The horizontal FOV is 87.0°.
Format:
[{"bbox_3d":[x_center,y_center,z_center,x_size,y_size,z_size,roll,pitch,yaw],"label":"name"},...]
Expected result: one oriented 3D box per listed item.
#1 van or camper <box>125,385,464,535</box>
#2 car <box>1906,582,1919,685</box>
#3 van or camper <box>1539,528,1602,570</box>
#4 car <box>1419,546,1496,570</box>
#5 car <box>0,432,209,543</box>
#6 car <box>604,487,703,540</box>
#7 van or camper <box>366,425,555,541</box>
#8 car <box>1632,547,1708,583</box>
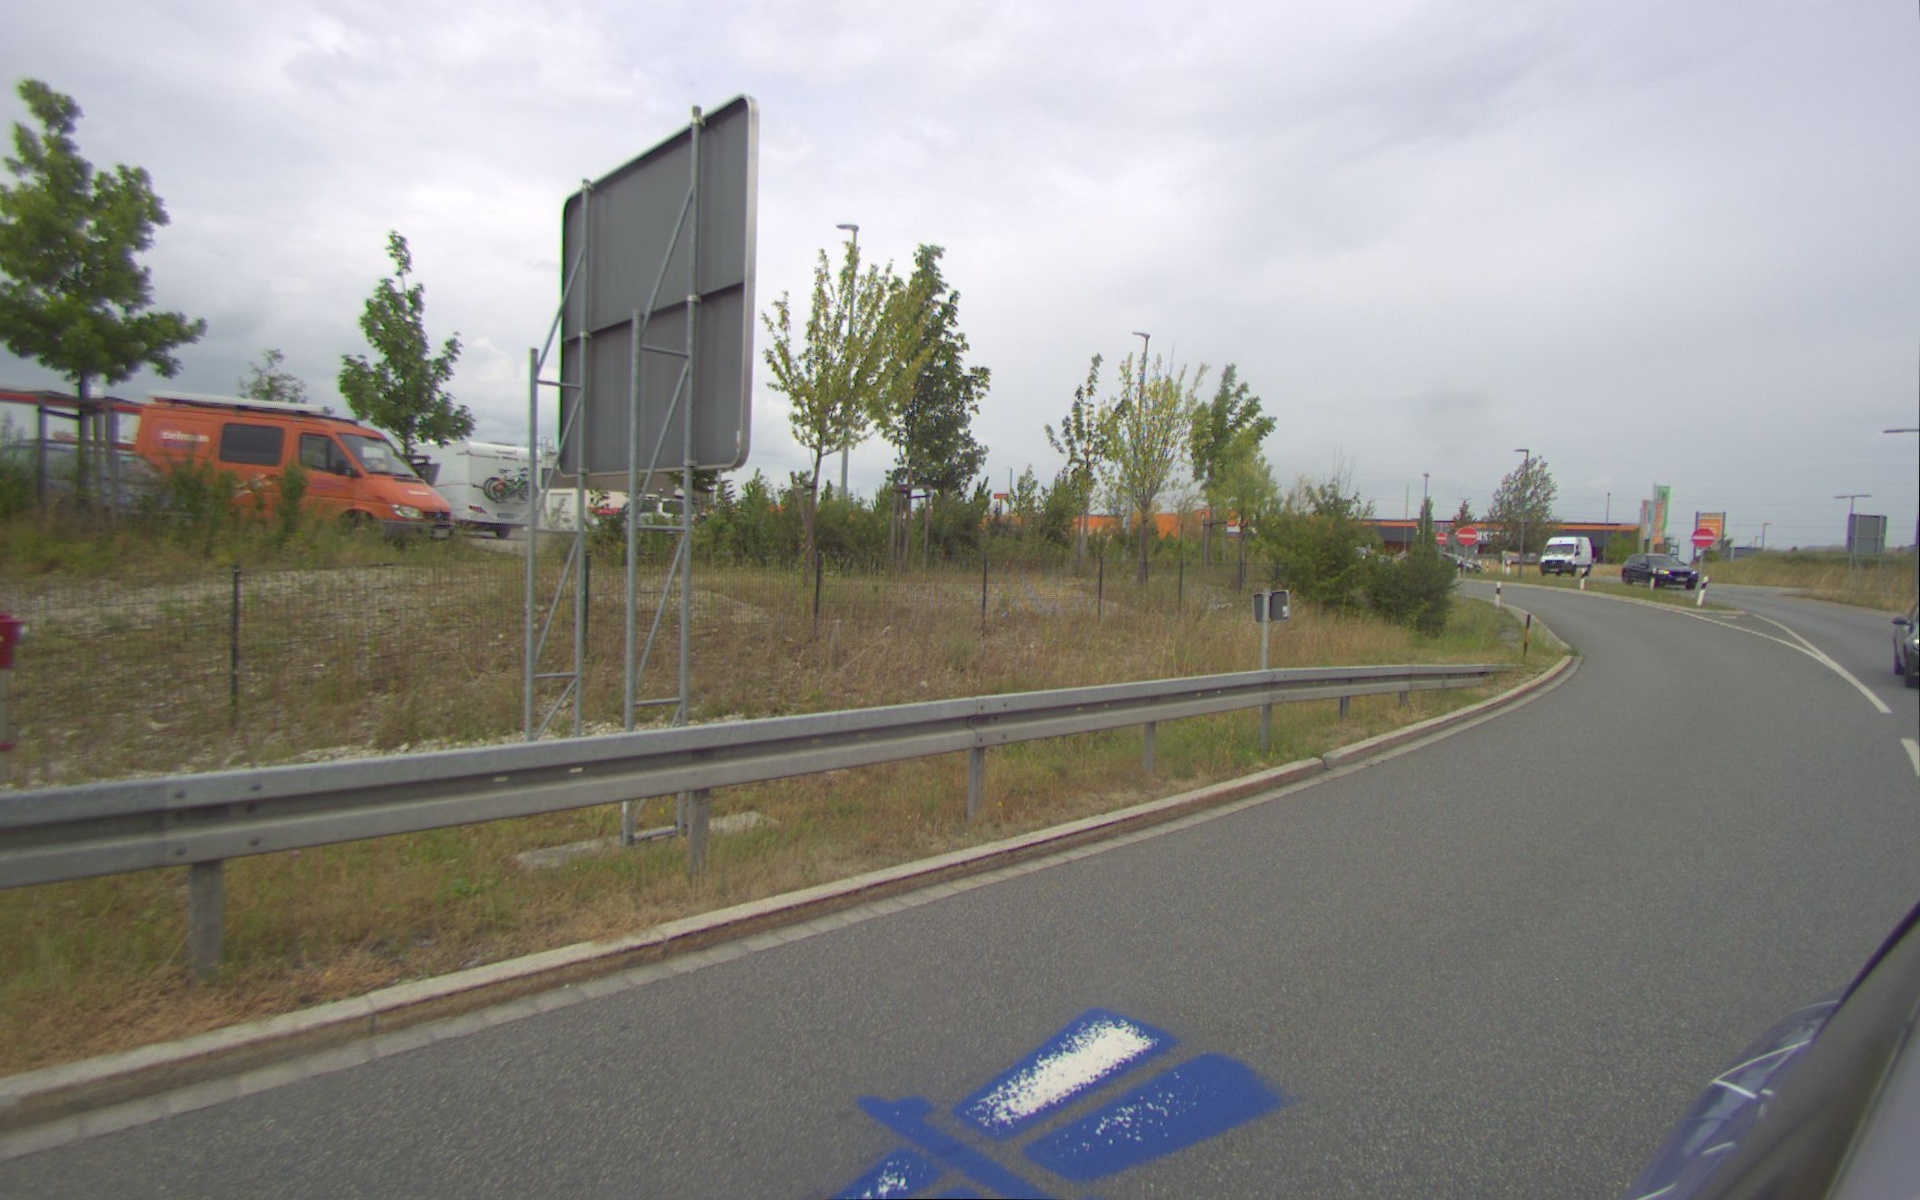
[{"bbox_3d":[-11.407,-2.357,17.578,4.587,2.021,1.815,5,1,-1],"label":"van or camper"},{"bbox_3d":[16.653,0.480,16.316,1.900,1.516,4.274,0,1,41],"label":"car"},{"bbox_3d":[40.536,-3.353,67.112,2.327,2.682,5.951,3,3,43],"label":"van or camper"},{"bbox_3d":[32.123,-2.736,65.443,1.808,1.386,4.148,-2,4,-34],"label":"car"},{"bbox_3d":[-12.815,-1.632,14.570,3.259,1.398,1.495,4,4,14],"label":"car"},{"bbox_3d":[-11.184,-3.080,36.783,4.051,1.742,1.751,3,2,45],"label":"car"},{"bbox_3d":[-16.032,-3.648,32.152,7.707,3.217,2.457,5,4,40],"label":"van or camper"},{"bbox_3d":[35.343,-1.709,50.508,1.817,1.741,3.981,0,1,15],"label":"car"}]
